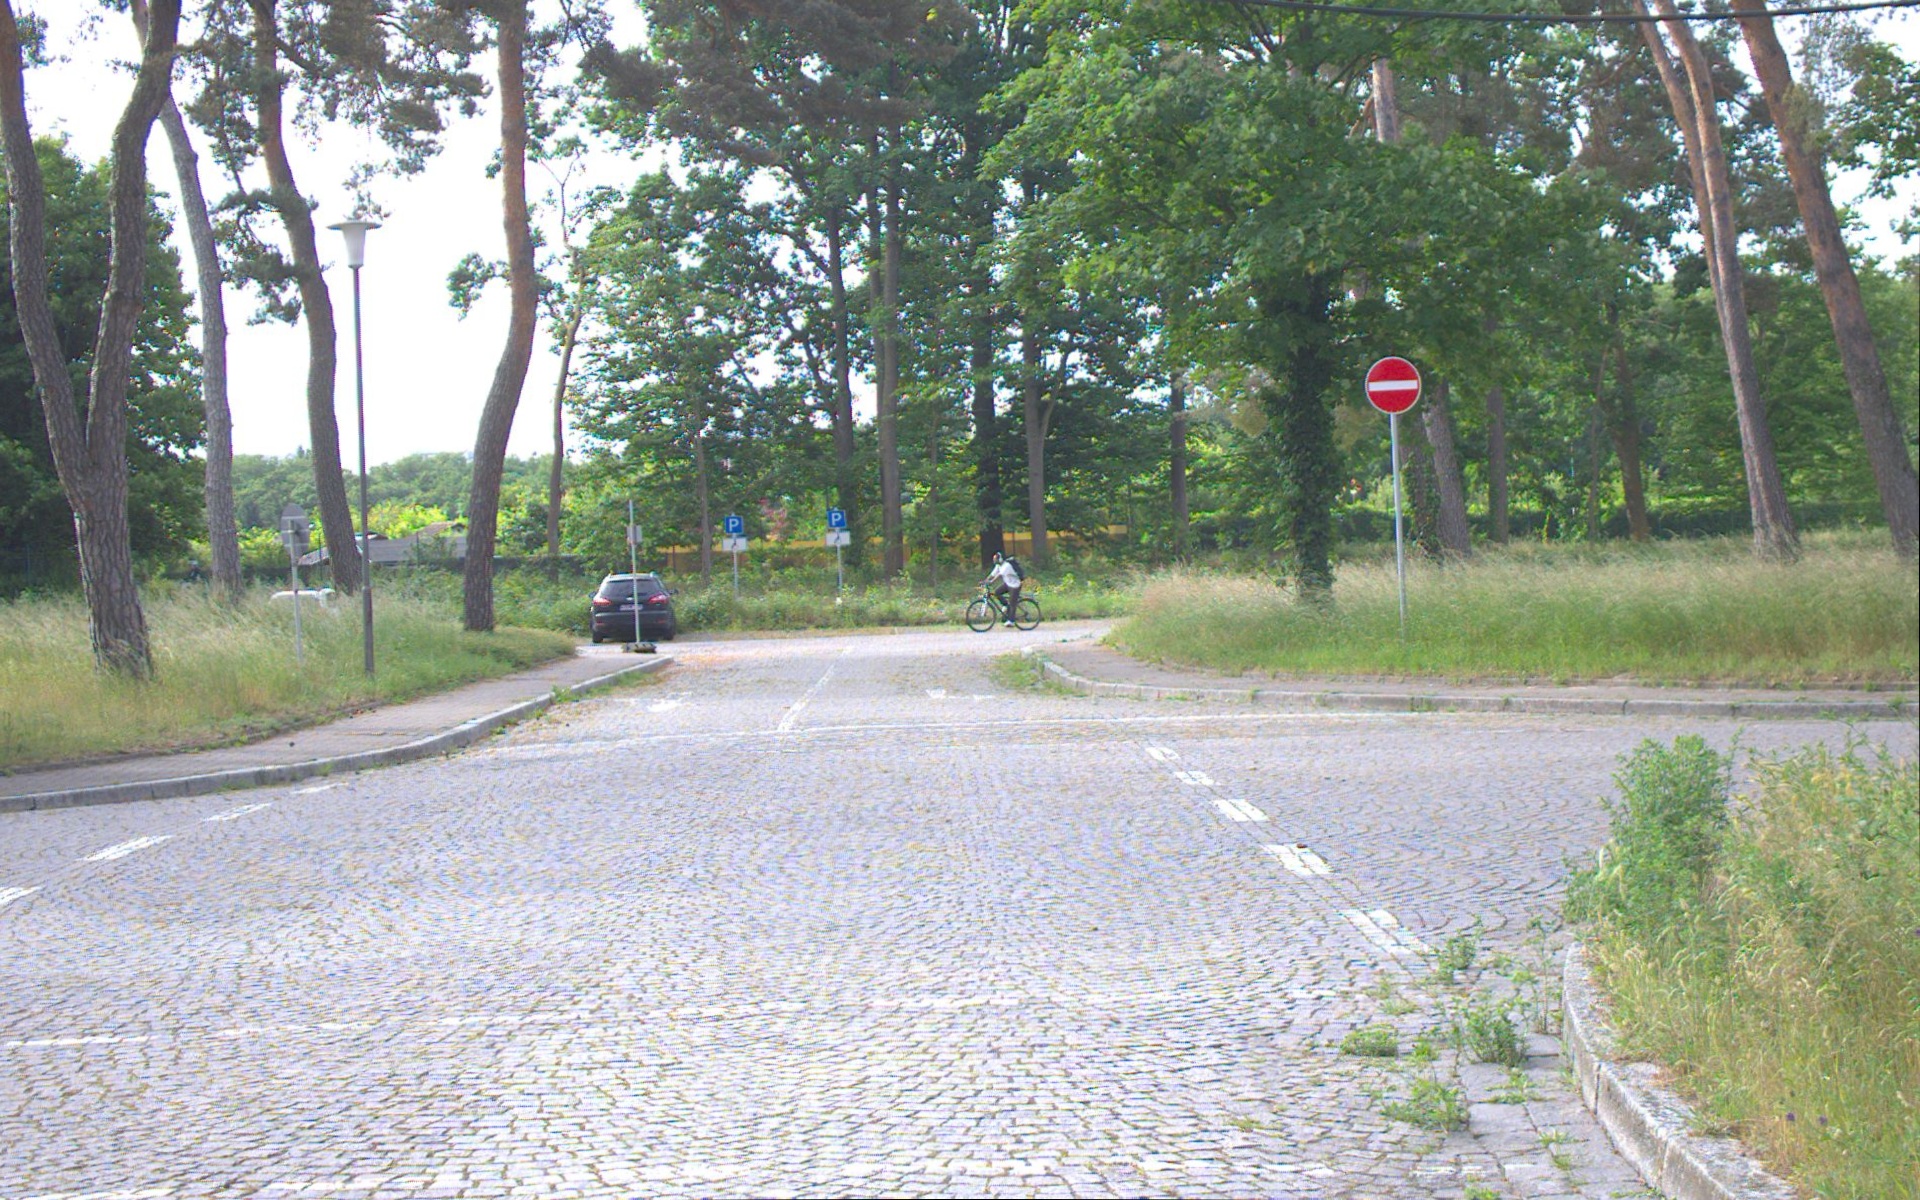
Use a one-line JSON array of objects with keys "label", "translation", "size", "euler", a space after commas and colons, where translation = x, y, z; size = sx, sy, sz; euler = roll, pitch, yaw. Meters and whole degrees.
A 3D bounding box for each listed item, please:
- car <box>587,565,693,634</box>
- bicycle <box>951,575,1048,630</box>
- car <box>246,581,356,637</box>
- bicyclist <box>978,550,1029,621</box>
[{"label": "car", "translation": [-7.239, -0.033, 78.090], "size": [1.993, 1.503, 4.000], "euler": [0, 1, 0]}, {"label": "bicycle", "translation": [0.855, 0.045, 74.499], "size": [1.986, 1.091, 0.810], "euler": [-2, 1, -4]}, {"label": "car", "translation": [-15.044, 0.186, 78.692], "size": [1.689, 1.152, 4.000], "euler": [-2, 1, 0]}, {"label": "bicyclist", "translation": [0.945, -0.317, 74.506], "size": [0.974, 1.505, 0.807], "euler": [-2, 1, -4]}]
